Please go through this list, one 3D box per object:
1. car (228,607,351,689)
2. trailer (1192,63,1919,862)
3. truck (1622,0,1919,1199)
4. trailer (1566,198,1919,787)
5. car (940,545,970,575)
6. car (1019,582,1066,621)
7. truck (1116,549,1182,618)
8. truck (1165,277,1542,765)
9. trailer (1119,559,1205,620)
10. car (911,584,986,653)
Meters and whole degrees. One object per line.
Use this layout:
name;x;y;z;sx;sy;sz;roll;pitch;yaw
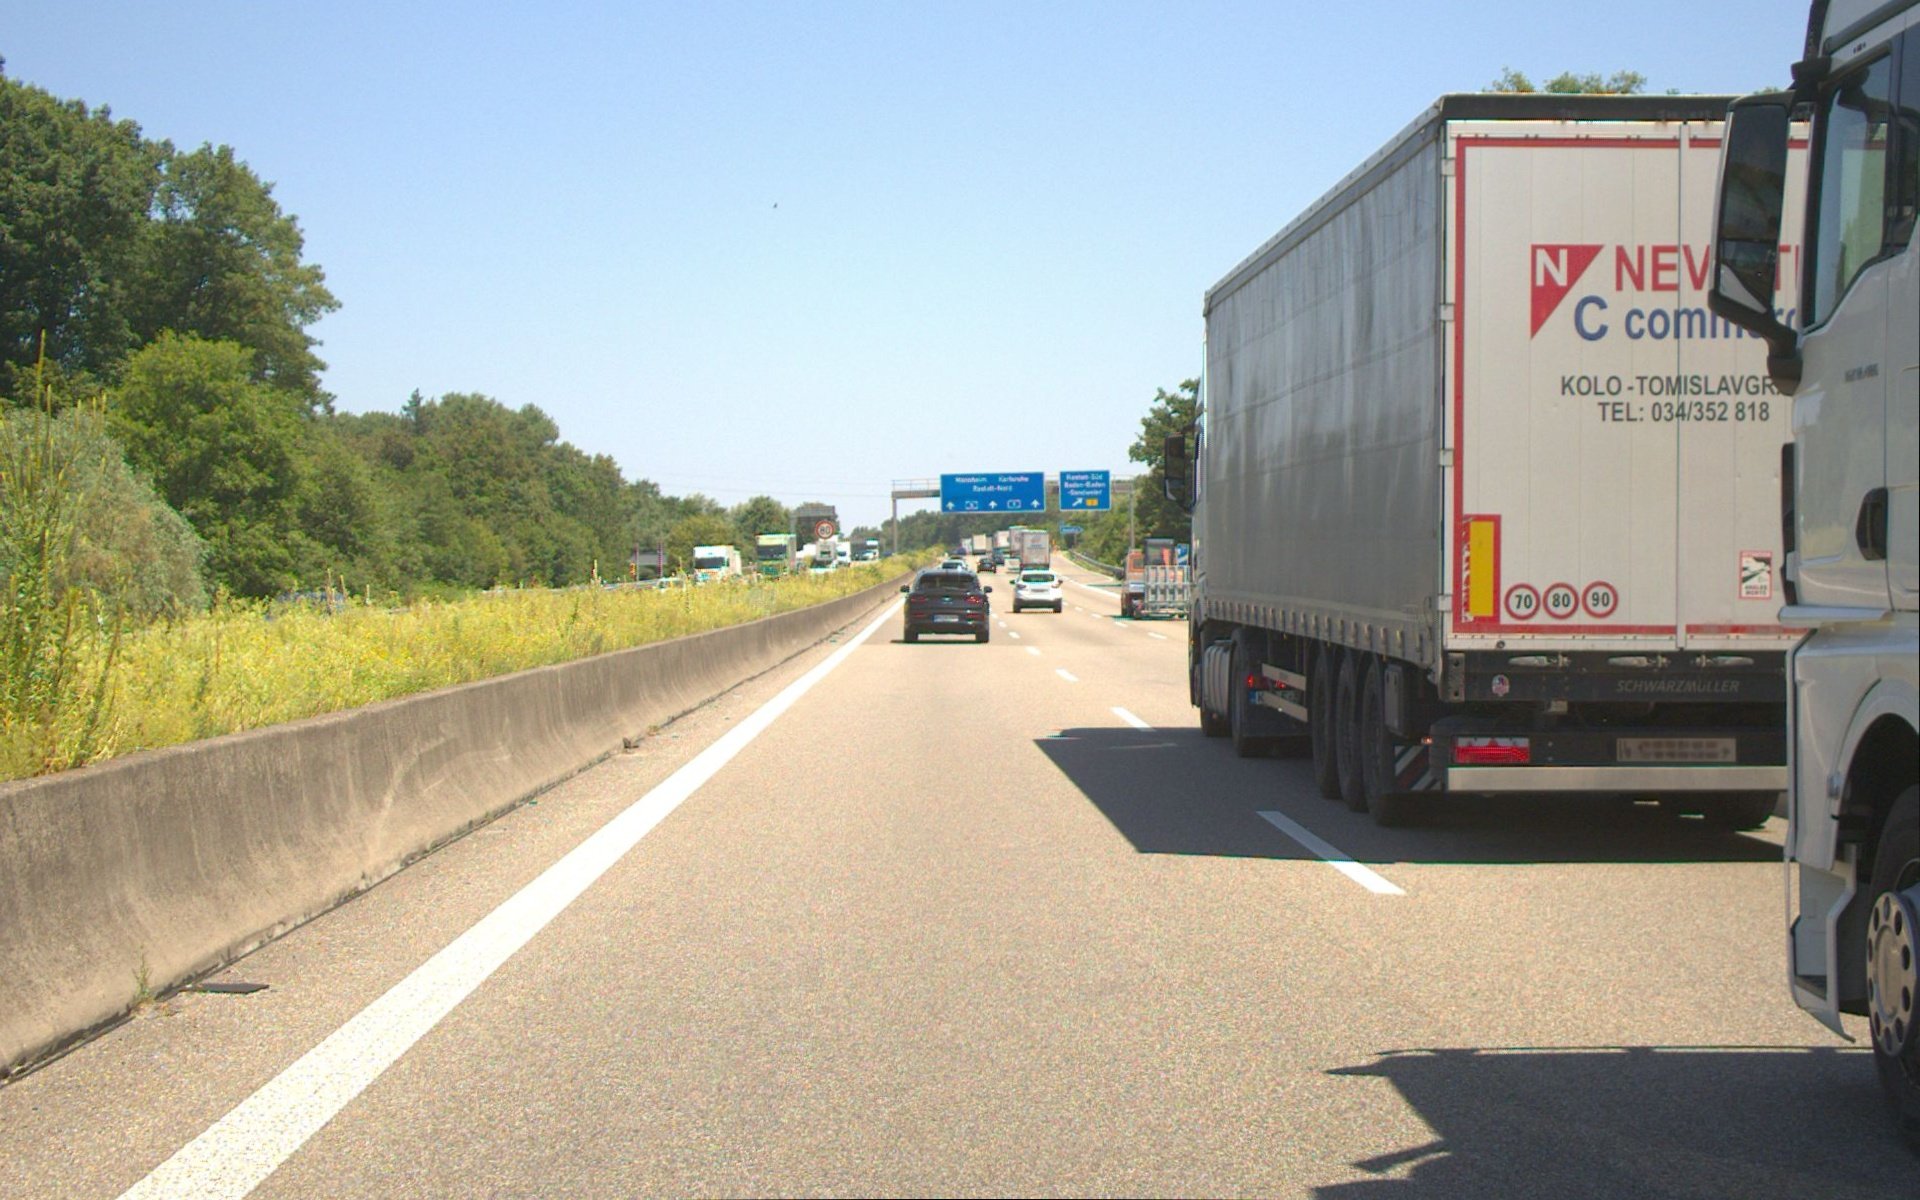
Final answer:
car;-14.589;1.022;74.973;1.823;1.647;4.171;-2;0;0
trailer;3.605;-0.670;24.917;2.707;4.054;14.746;1;0;0
truck;3.568;-0.521;7.927;2.799;3.993;6.021;0;0;-1
trailer;7.438;-0.750;30.012;2.316;4.227;10.654;0;0;0
car;-0.370;-2.769;241.195;1.993;2.007;4.000;-1;0;0
car;3.186;0.061;133.516;1.740;1.481;4.000;0;0;0
truck;6.661;-0.603;121.720;1.993;2.365;4.645;0;1;-1
truck;3.507;-0.650;32.175;2.700;4.080;6.453;1;0;0
trailer;6.807;-0.384;116.373;2.420;2.007;6.034;0;1;-1
car;-0.281;0.431;80.957;1.660;1.544;3.783;1;0;-1
